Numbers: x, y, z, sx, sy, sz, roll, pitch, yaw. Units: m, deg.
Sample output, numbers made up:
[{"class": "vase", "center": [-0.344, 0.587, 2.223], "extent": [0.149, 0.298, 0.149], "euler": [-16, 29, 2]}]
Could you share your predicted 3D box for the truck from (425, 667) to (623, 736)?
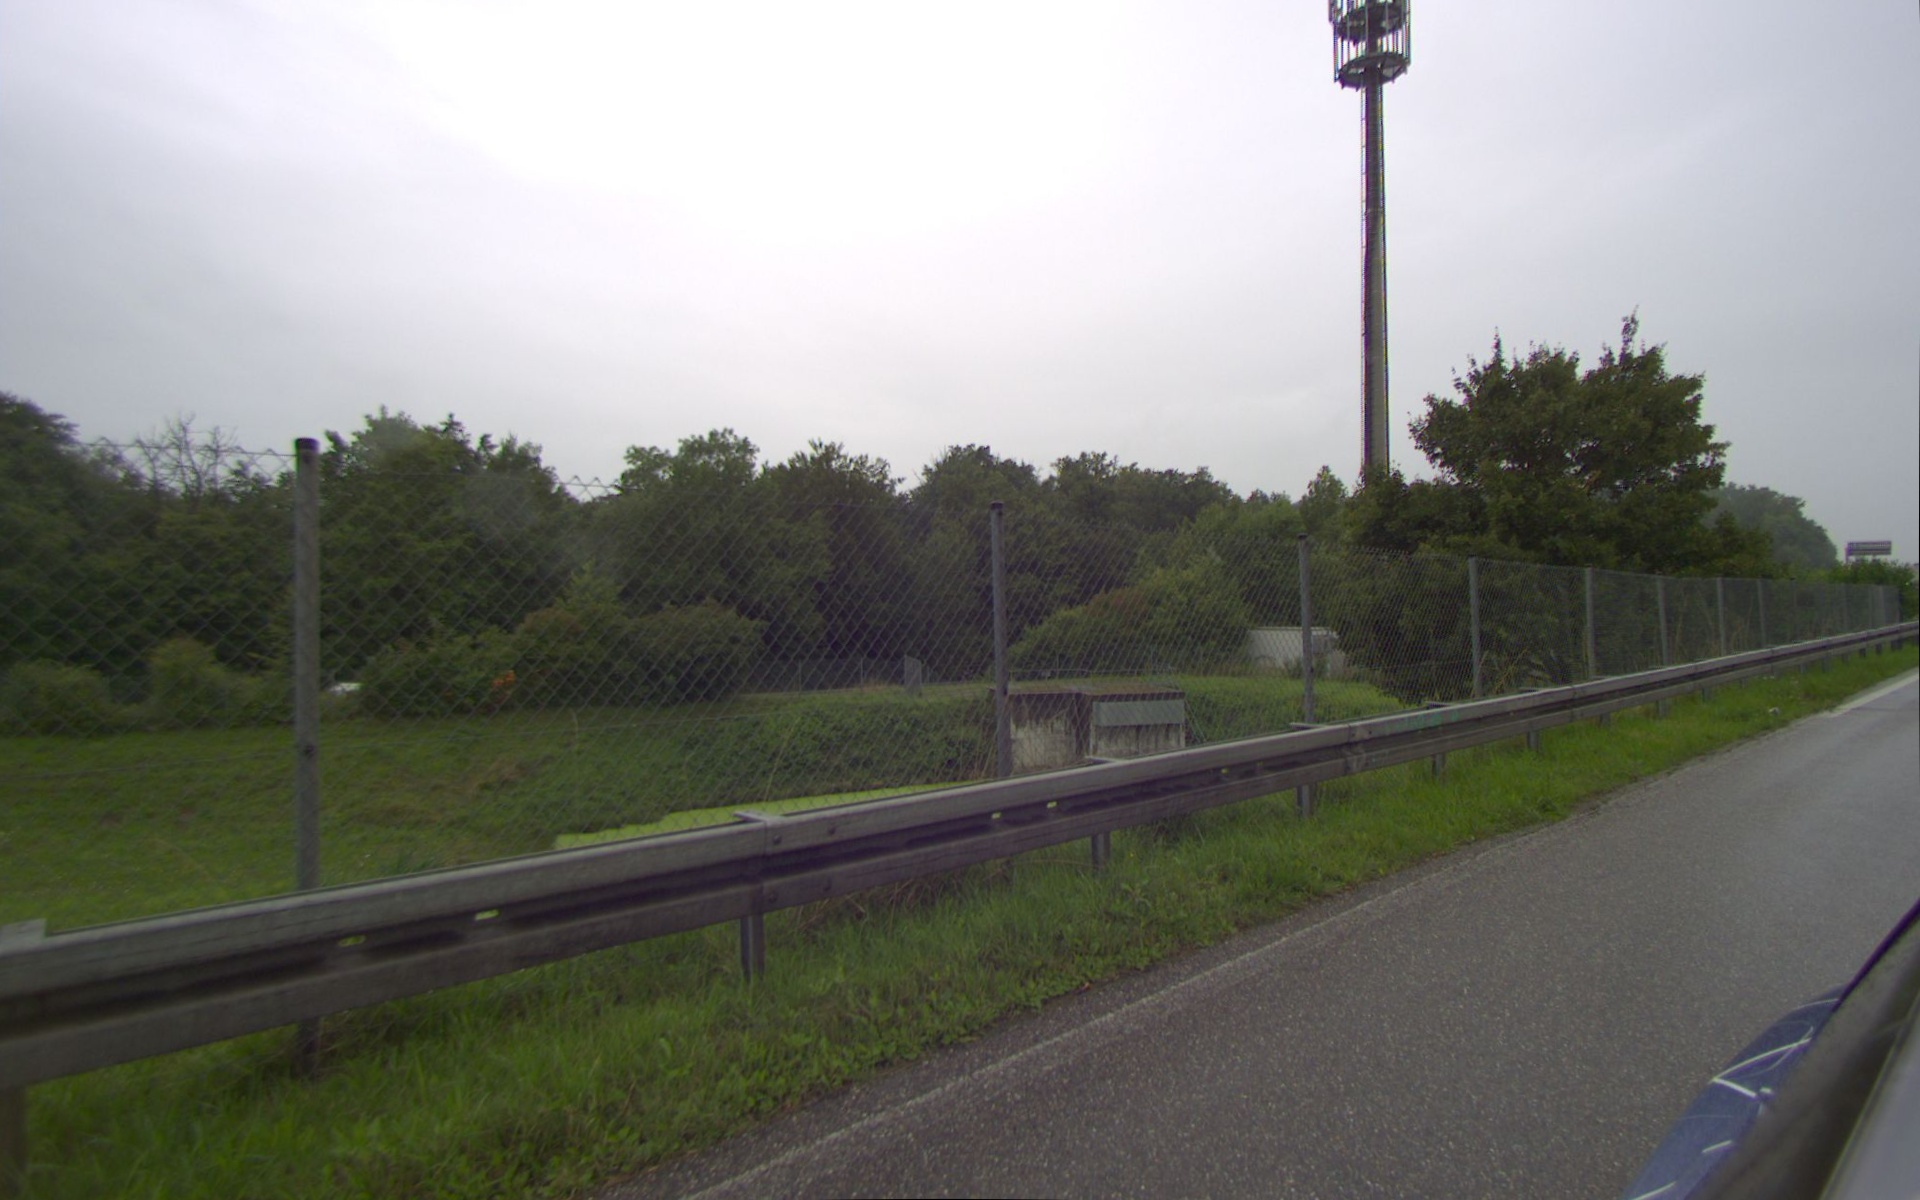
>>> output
[{"class": "truck", "center": [-20.464, 4.721, 47.785], "extent": [8.113, 2.697, 2.830], "euler": [0, -6, -39]}]

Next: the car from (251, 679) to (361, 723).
[{"class": "car", "center": [-29.043, 4.459, 44.980], "extent": [3.929, 1.685, 1.883], "euler": [1, -6, -40]}]
